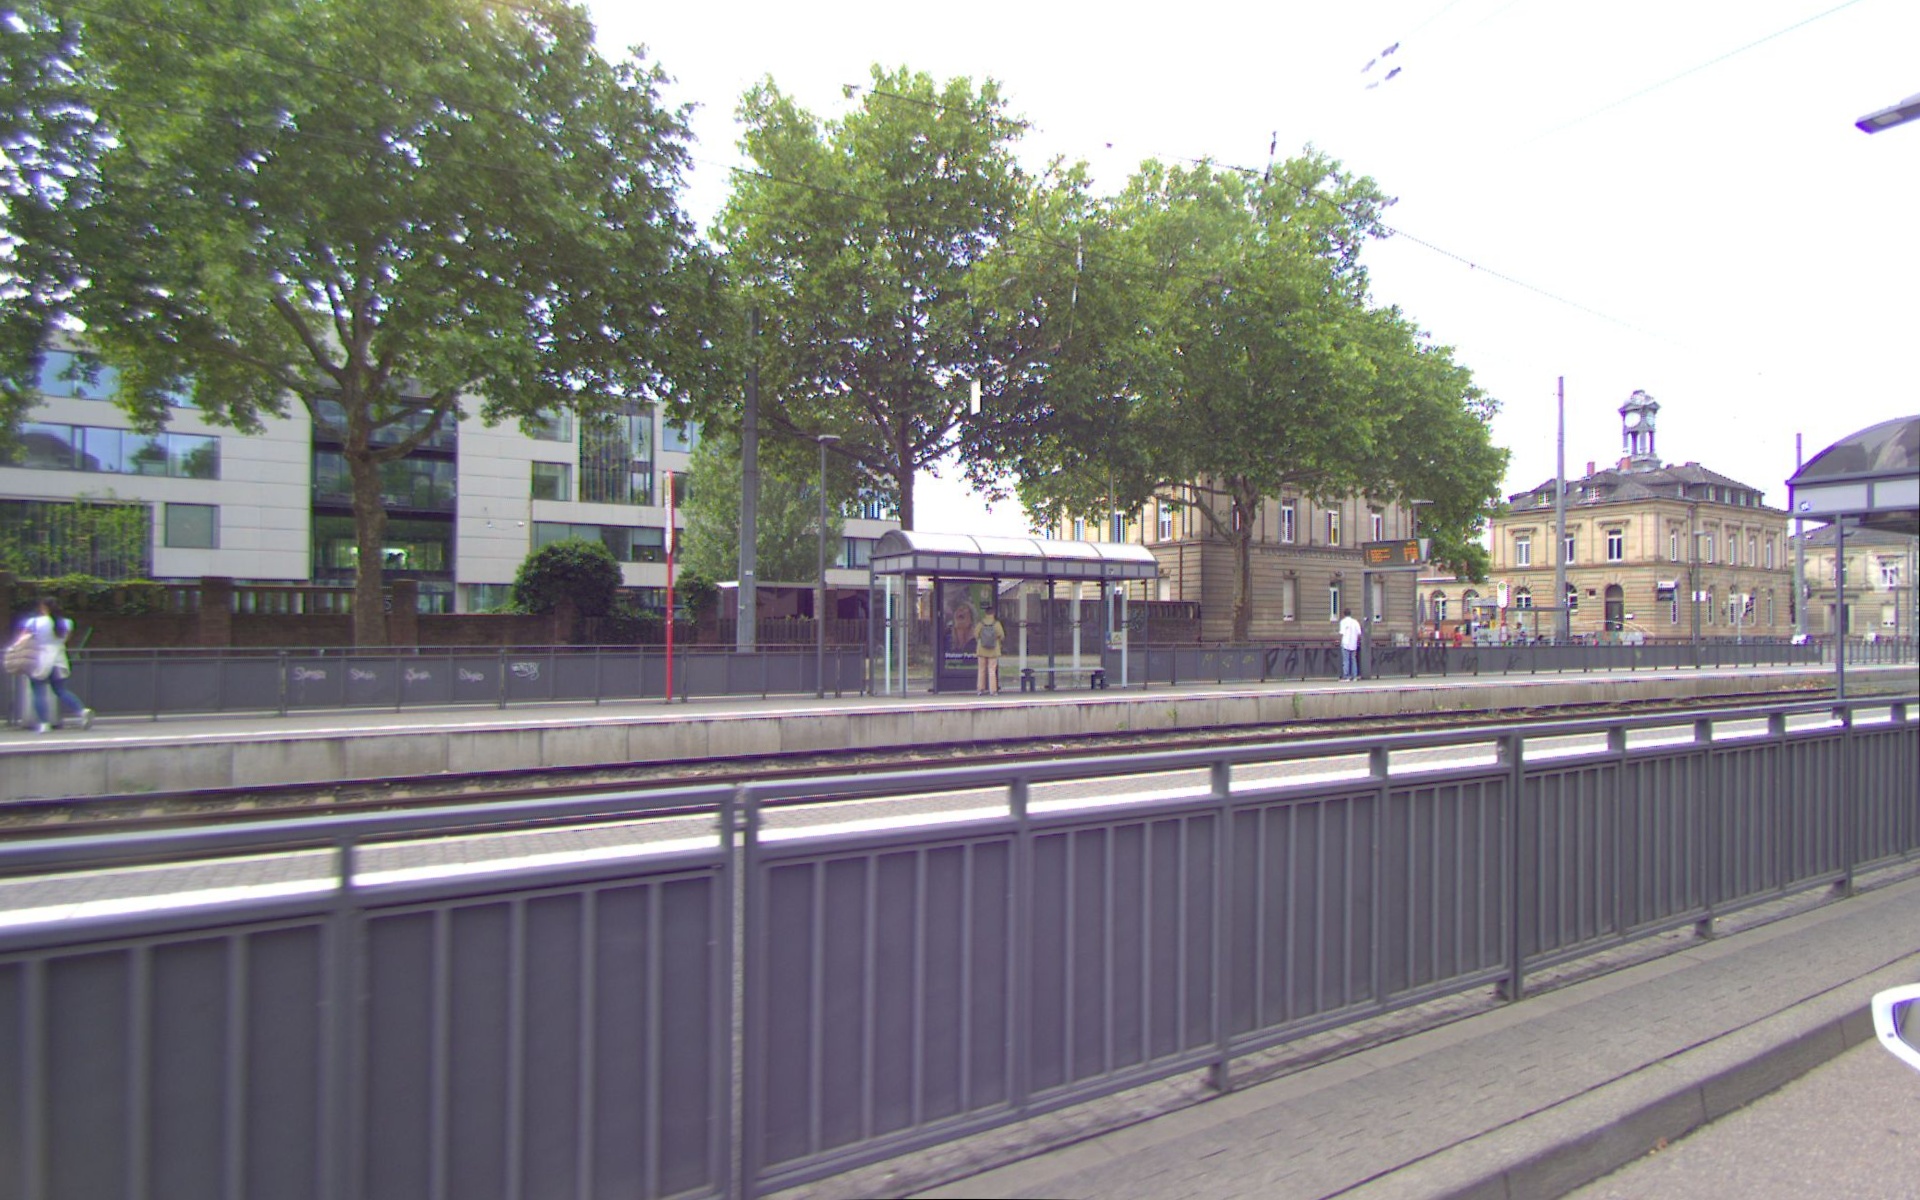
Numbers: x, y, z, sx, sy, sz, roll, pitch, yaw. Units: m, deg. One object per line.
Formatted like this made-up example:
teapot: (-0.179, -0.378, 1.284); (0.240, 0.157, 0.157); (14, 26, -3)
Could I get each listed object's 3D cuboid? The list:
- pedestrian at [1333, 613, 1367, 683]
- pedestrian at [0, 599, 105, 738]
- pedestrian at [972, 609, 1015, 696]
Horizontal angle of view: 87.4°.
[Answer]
pedestrian: (9.667, 1.175, 24.885); (0.635, 1.705, 0.498); (1, -1, -30)
pedestrian: (-10.454, 0.775, 11.576); (0.795, 1.532, 0.697); (1, -2, -33)
pedestrian: (0.619, 0.971, 18.648); (0.635, 1.579, 0.498); (1, -1, -30)
